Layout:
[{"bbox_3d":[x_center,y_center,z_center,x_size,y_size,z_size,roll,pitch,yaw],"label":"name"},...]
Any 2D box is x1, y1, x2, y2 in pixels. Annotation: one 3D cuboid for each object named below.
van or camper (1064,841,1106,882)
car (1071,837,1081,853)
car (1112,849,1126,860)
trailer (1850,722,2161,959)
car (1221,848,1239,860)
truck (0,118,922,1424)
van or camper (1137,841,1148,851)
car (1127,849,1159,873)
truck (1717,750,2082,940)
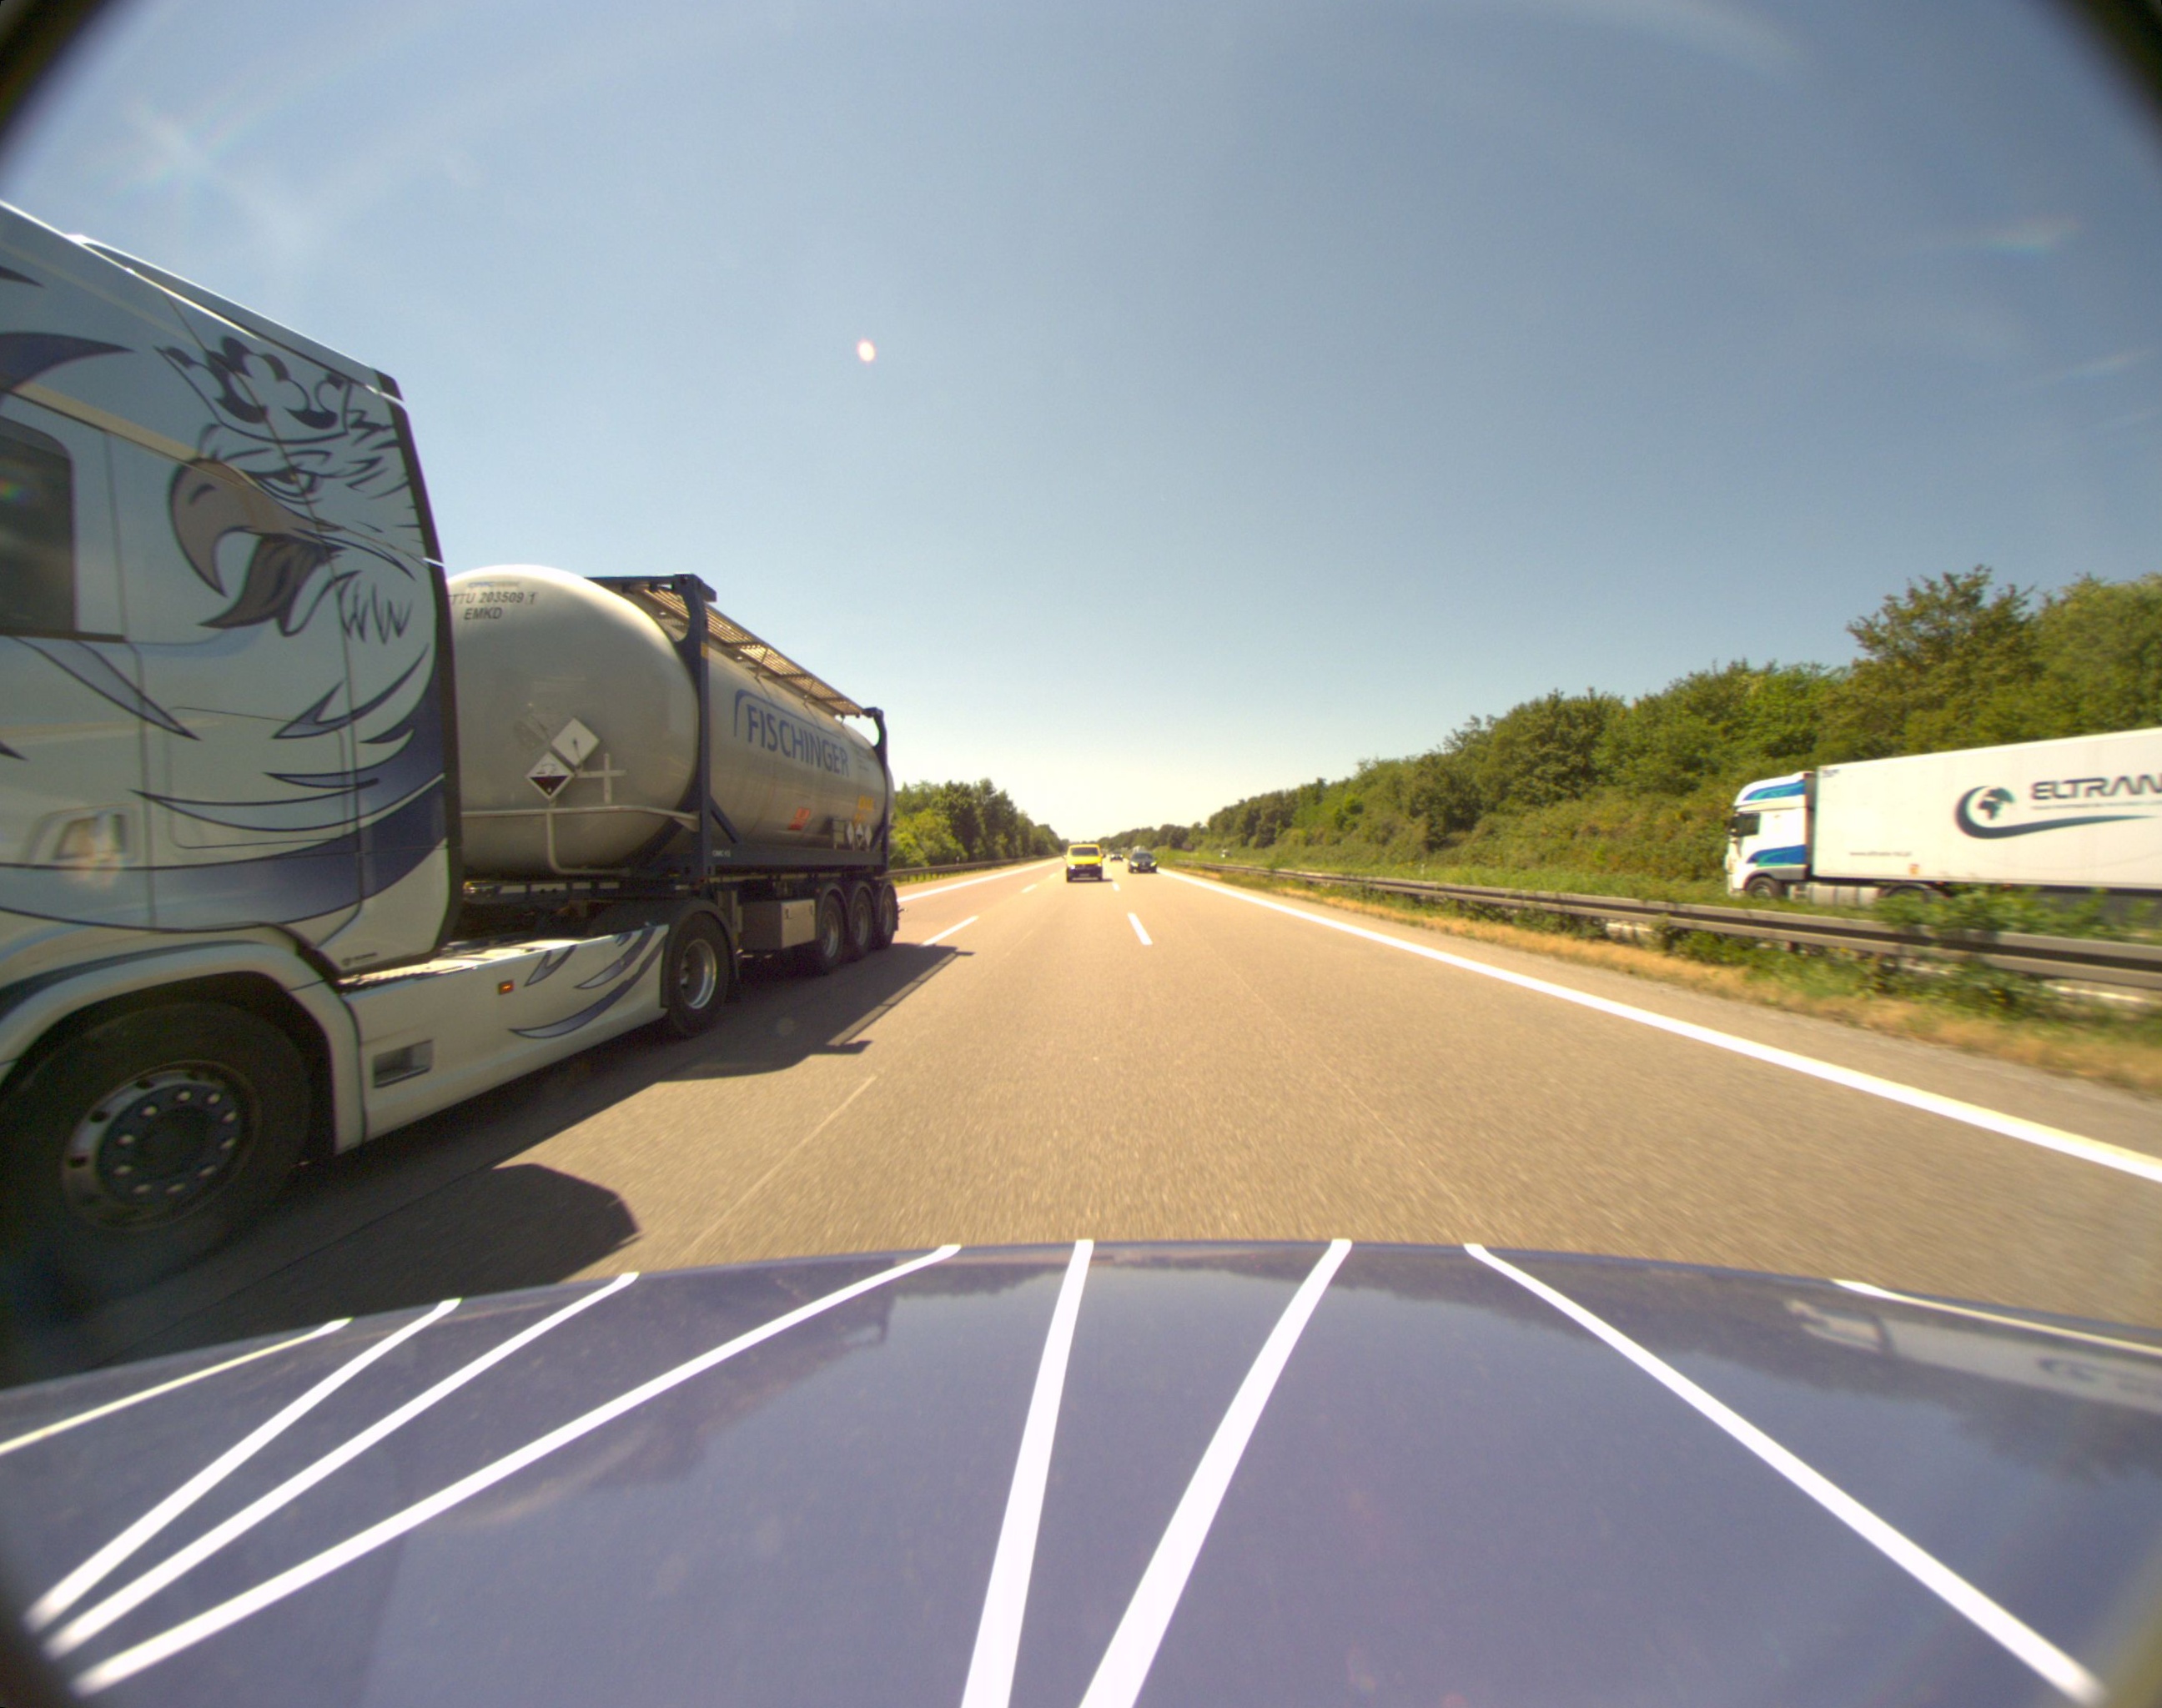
[{"bbox_3d":[0.296,0.337,40.834,2.063,1.992,5.884,-1,1,2],"label":"van or camper"},{"bbox_3d":[-1.291,-2.248,193.926,2.298,3.886,9.268,1,1,1],"label":"car"},{"bbox_3d":[5.511,0.056,110.278,1.894,1.541,4.039,1,1,1],"label":"car"},{"bbox_3d":[20.577,-0.281,12.355,3.183,4.166,12.986,-2,1,1],"label":"trailer"},{"bbox_3d":[23.321,-0.053,118.985,1.998,1.904,4.303,-1,1,1],"label":"car"},{"bbox_3d":[-4.616,-0.310,7.696,2.805,4.023,13.353,-2,1,1],"label":"truck"},{"bbox_3d":[16.517,-2.173,203.185,2.431,2.352,6.336,-2,1,1],"label":"van or camper"},{"bbox_3d":[4.310,0.461,53.156,1.894,1.541,4.039,1,1,1],"label":"car"},{"bbox_3d":[20.738,-0.229,19.909,3.201,4.125,5.943,-2,1,1],"label":"truck"}]
